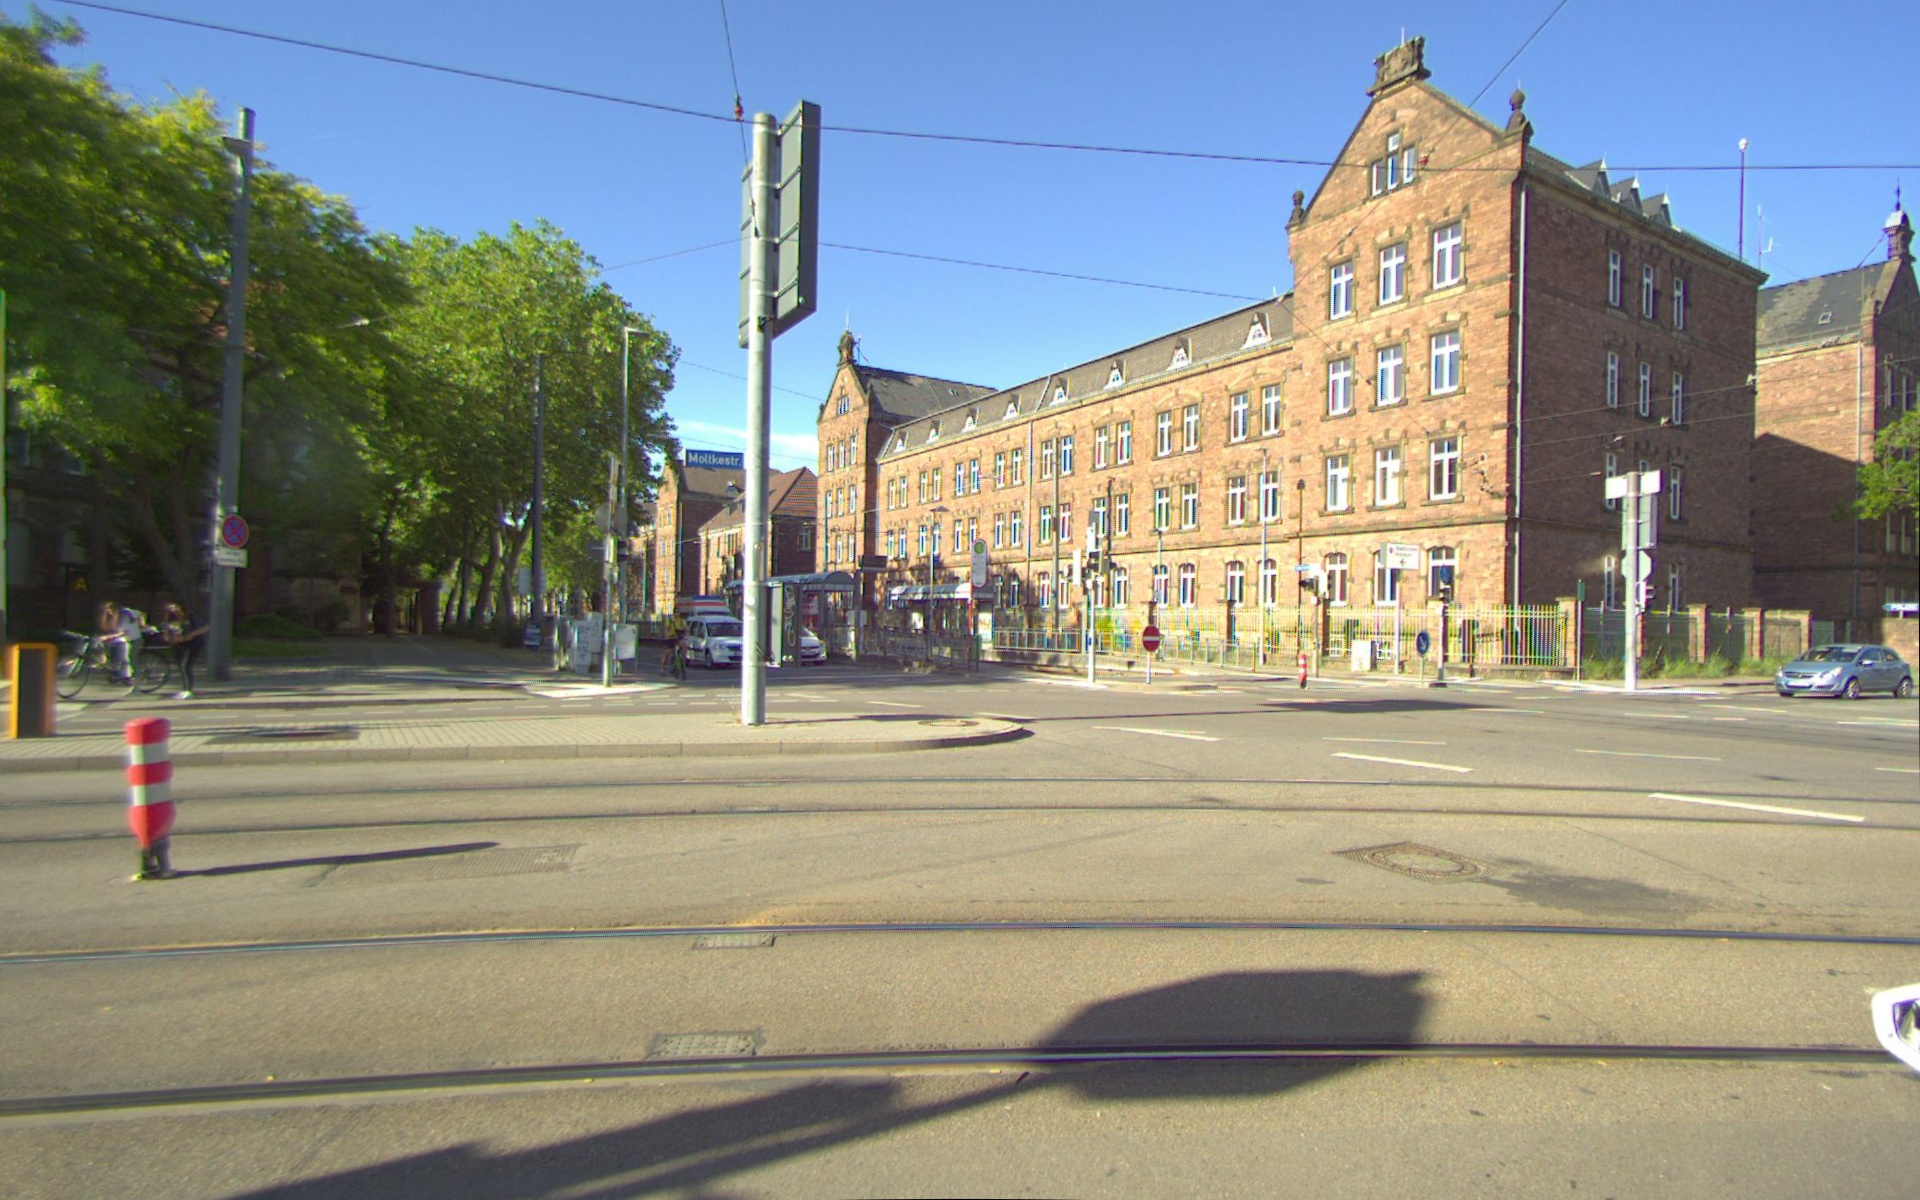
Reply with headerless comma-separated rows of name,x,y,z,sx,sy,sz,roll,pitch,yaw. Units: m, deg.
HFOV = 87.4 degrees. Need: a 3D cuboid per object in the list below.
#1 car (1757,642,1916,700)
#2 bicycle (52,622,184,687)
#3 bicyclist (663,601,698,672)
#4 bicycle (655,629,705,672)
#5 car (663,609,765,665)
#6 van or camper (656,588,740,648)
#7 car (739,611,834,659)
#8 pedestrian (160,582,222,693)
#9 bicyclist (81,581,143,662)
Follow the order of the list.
car,24.118,1.923,27.637,4.057,1.462,1.732,2,-2,-23
bicycle,-13.888,0.879,16.606,0.470,1.010,1.590,1,-1,29
bicyclist,-7.062,0.931,25.383,0.663,1.751,0.617,2,-4,-32
bicycle,-7.113,1.282,25.427,0.683,1.047,2.082,2,-4,-31
car,-7.863,1.157,31.862,1.891,1.639,4.534,1,-2,-31
van or camper,-11.269,0.820,42.933,1.977,2.391,5.553,2,-3,-31
car,-6.019,1.200,34.544,1.962,1.568,4.002,2,-2,-30
pedestrian,-12.552,0.602,16.394,0.478,1.770,0.667,1,-1,38
bicyclist,-13.942,0.350,16.517,0.470,1.301,0.618,1,-1,30
